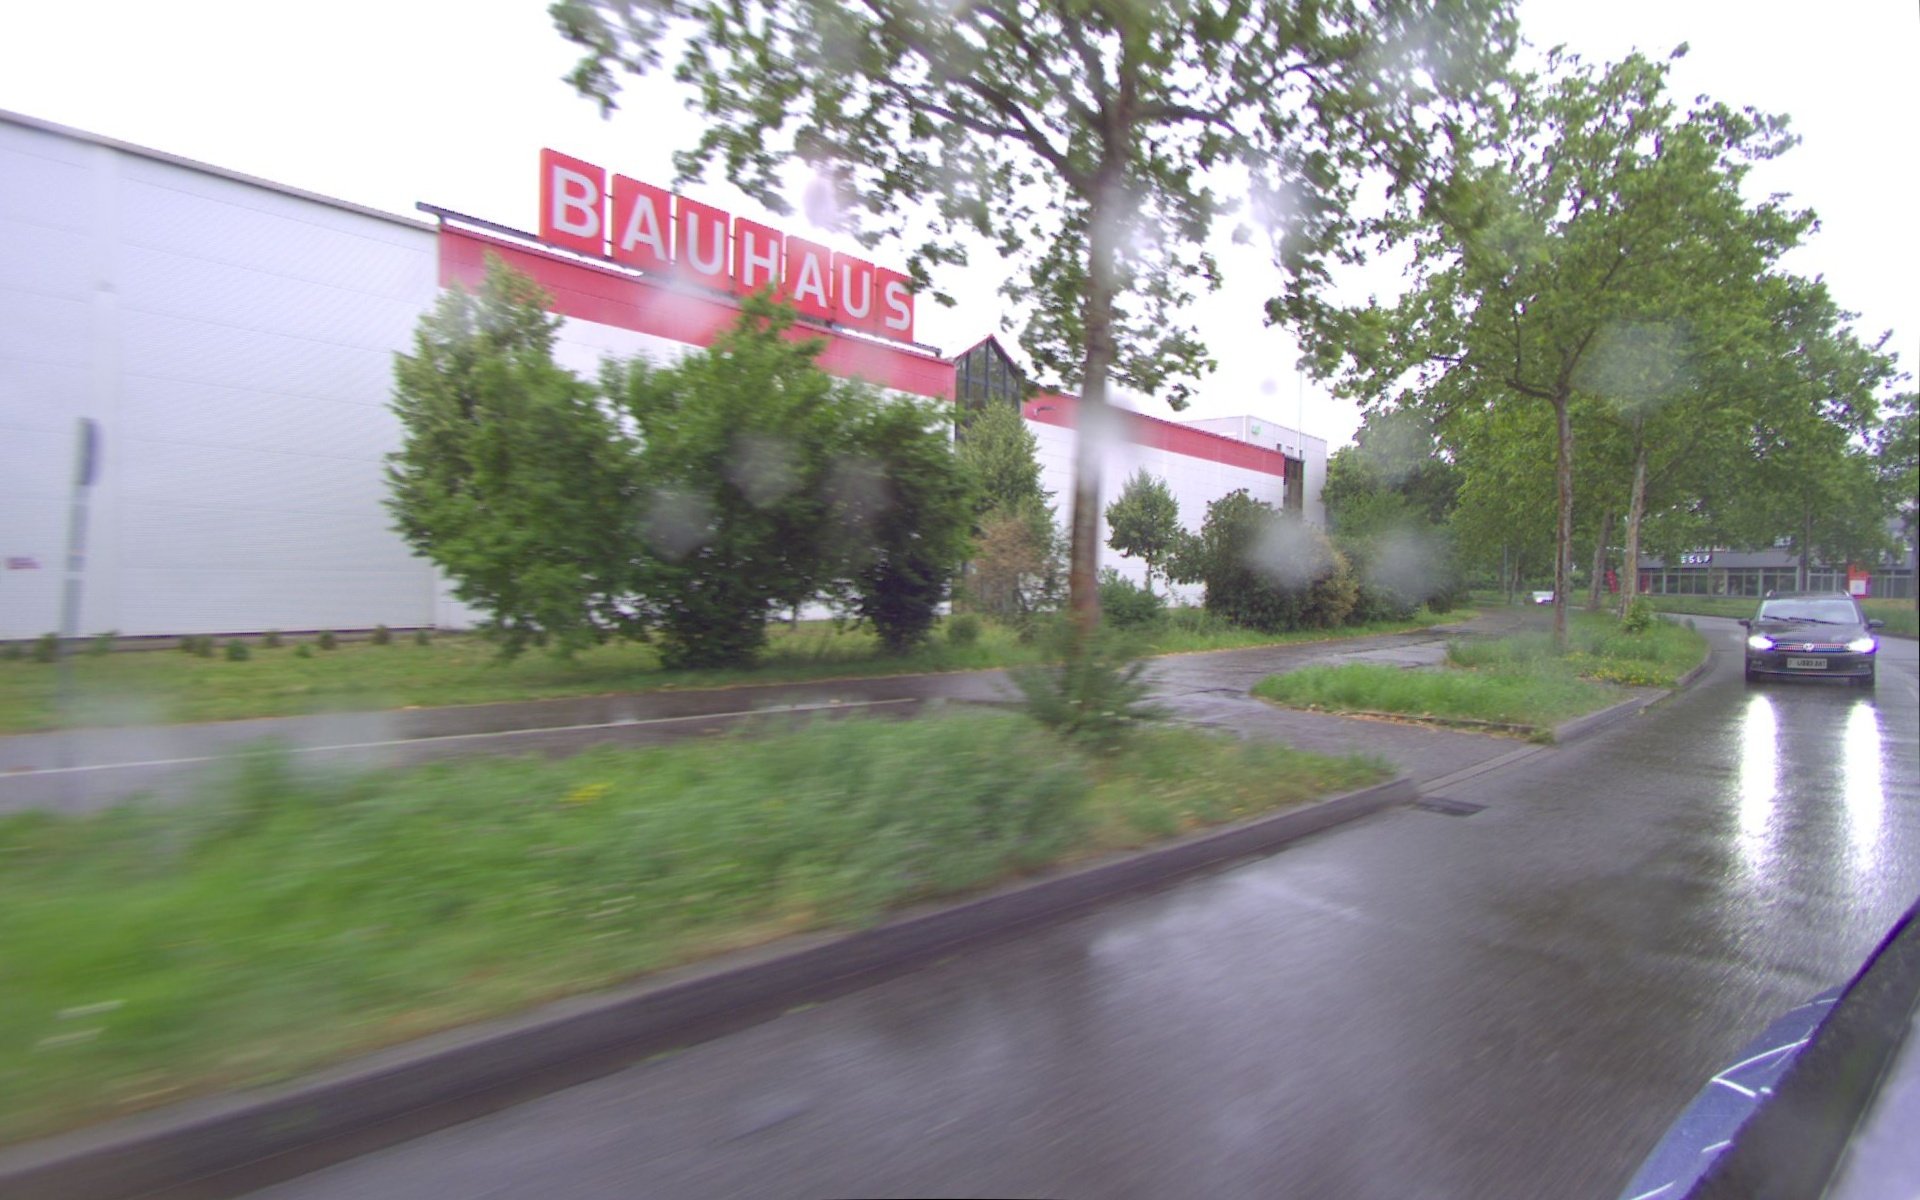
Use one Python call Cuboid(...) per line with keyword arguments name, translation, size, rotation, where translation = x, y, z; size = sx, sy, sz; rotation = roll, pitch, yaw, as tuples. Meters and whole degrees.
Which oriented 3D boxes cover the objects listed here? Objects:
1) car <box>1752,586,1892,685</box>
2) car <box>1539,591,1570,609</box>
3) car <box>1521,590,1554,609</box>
Cuboid(name="car", translation=(15.839, 0.546, 18.642), size=(1.778, 1.575, 3.941), rotation=(2, 2, 41))
Cuboid(name="car", translation=(55.118, -0.021, 93.894), size=(1.764, 1.575, 3.973), rotation=(1, 1, 21))
Cuboid(name="car", translation=(50.707, -0.072, 88.932), size=(1.762, 1.575, 3.975), rotation=(1, 1, 19))
